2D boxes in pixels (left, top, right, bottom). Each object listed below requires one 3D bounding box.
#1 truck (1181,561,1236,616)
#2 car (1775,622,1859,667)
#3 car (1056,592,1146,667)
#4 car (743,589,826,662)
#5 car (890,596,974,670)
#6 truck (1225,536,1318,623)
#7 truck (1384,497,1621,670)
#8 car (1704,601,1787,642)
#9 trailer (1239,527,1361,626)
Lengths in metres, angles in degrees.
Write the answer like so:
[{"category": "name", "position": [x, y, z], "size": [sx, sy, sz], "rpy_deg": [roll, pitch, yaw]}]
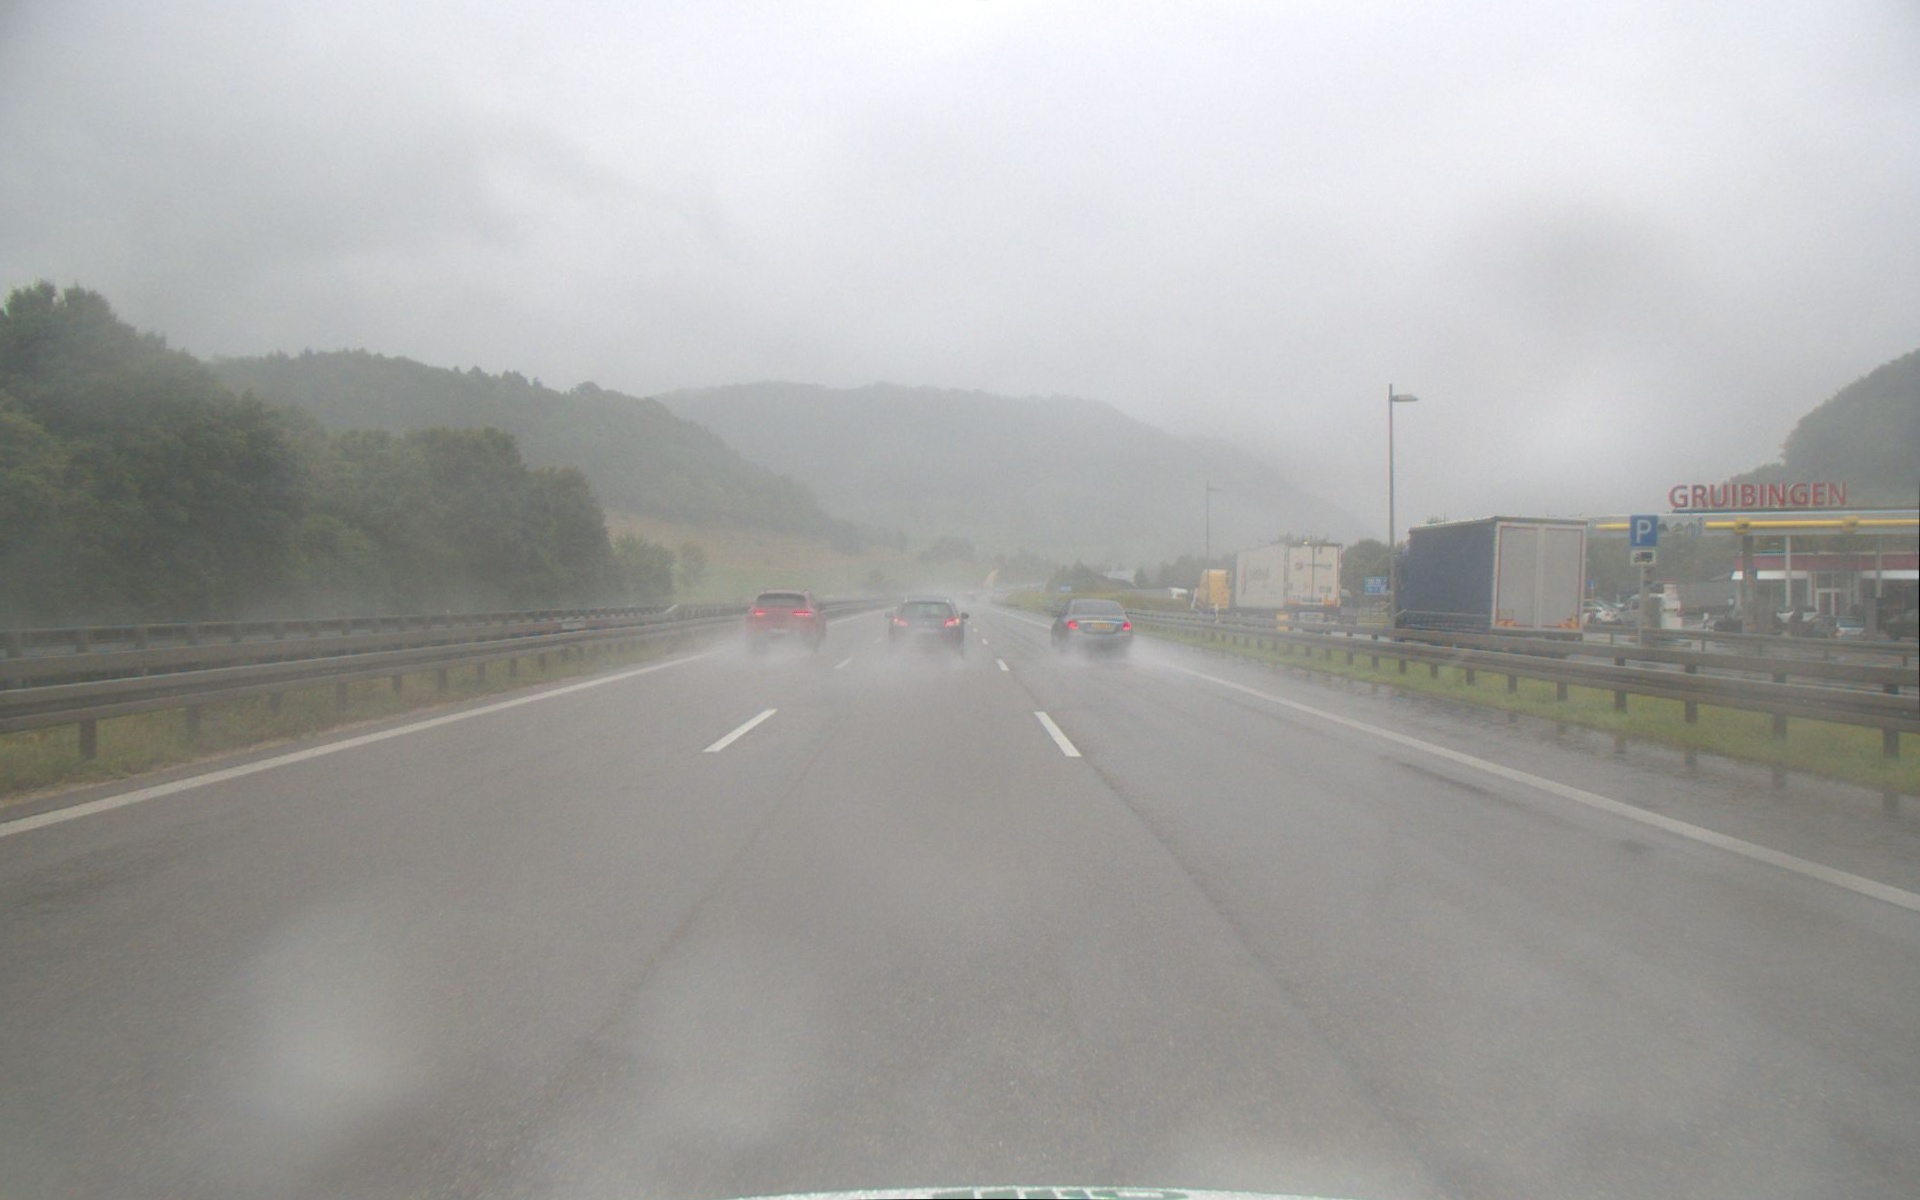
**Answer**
[{"category": "truck", "position": [15.251, -0.687, 102.074], "size": [2.243, 3.202, 8.865], "rpy_deg": [1, 0, 2]}, {"category": "car", "position": [41.111, 2.114, 79.471], "size": [1.920, 2.049, 3.999], "rpy_deg": [1, 0, -1]}, {"category": "car", "position": [3.527, 0.703, 41.910], "size": [1.931, 1.791, 4.000], "rpy_deg": [1, 0, 0]}, {"category": "car", "position": [-4.614, 0.628, 44.043], "size": [1.846, 1.847, 3.999], "rpy_deg": [0, 0, -1]}, {"category": "car", "position": [-0.623, 0.747, 38.893], "size": [1.821, 1.617, 4.000], "rpy_deg": [1, 0, 0]}, {"category": "truck", "position": [16.168, -1.006, 86.435], "size": [3.454, 4.293, 7.817], "rpy_deg": [1, 0, 1]}, {"category": "truck", "position": [15.735, -0.472, 49.170], "size": [3.331, 4.479, 11.049], "rpy_deg": [2, 0, 0]}, {"category": "car", "position": [41.172, 1.110, 86.780], "size": [1.953, 2.049, 4.900], "rpy_deg": [1, 0, -1]}, {"category": "trailer", "position": [16.112, -1.017, 79.453], "size": [3.444, 4.336, 11.921], "rpy_deg": [1, 0, 1]}]
